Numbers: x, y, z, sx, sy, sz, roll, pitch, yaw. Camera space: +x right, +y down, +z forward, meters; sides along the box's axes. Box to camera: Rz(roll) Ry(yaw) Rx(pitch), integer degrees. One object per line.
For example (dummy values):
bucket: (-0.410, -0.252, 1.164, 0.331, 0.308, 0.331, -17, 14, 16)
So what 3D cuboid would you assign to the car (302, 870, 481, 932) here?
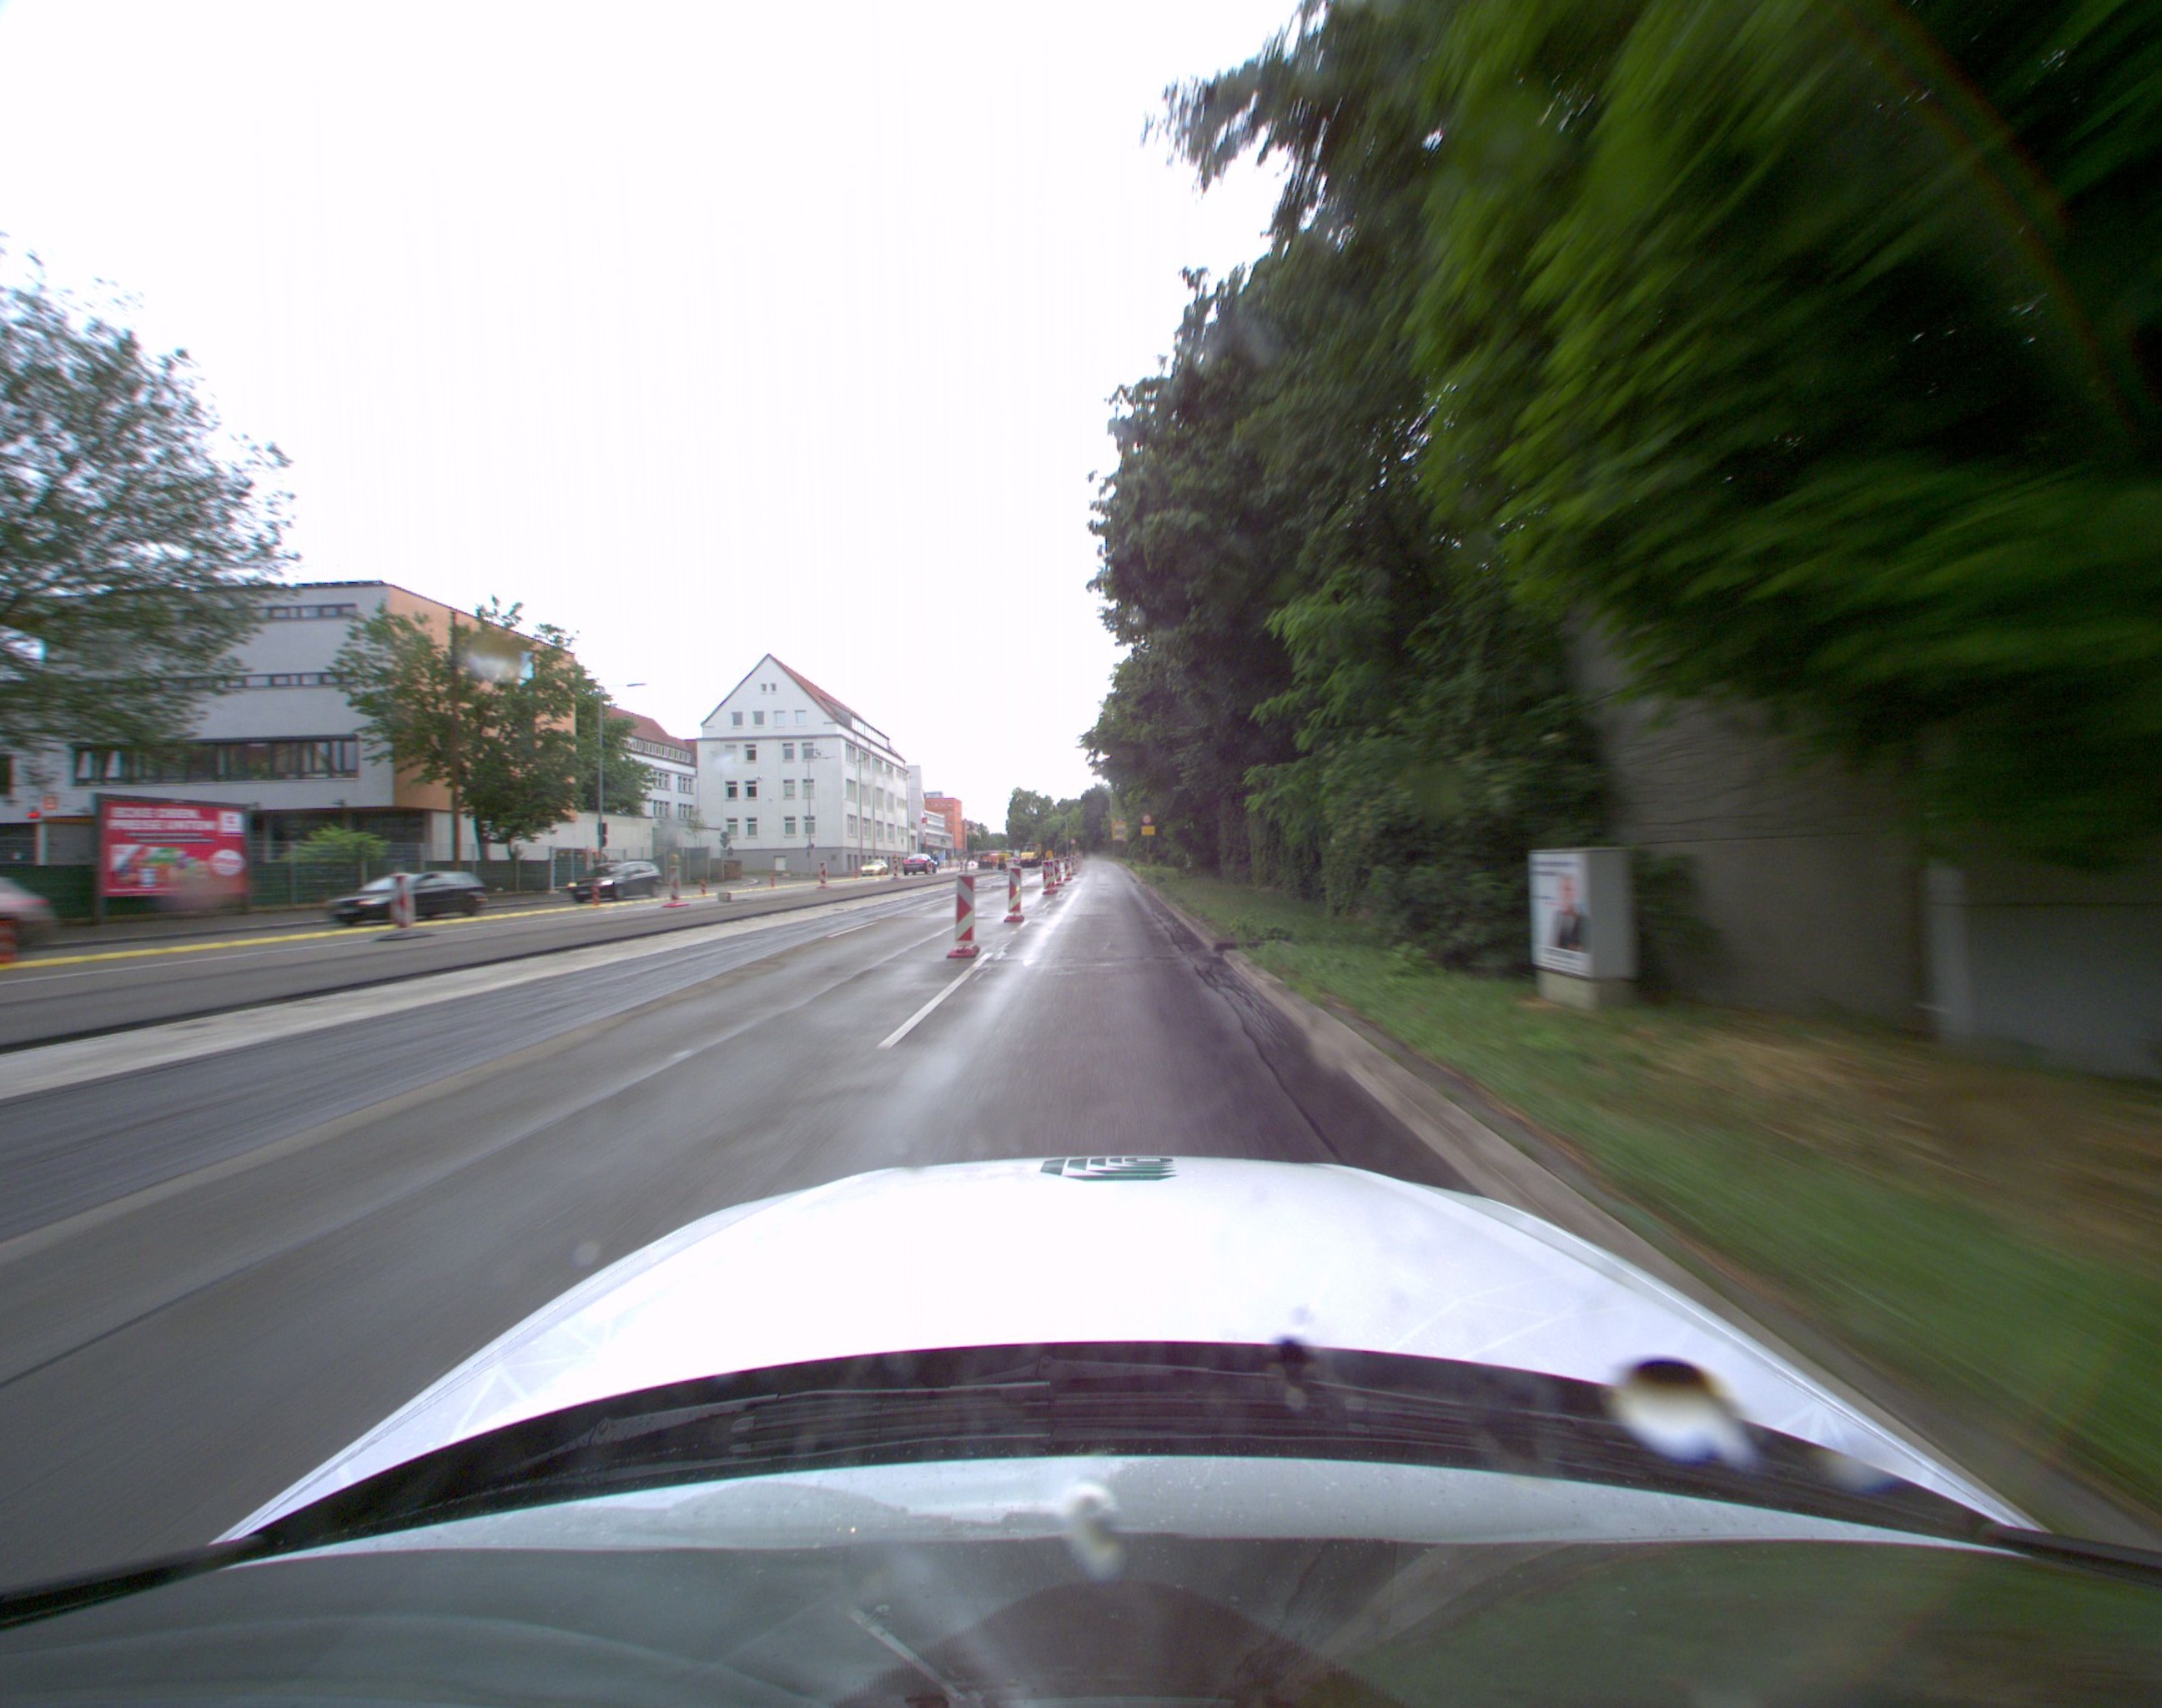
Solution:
car: (-19.876, 1.291, 23.711, 1.852, 1.475, 3.734, -4, 0, 2)

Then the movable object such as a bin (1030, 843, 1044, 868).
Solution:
movable object such as a bin: (-5.636, 0.171, 105.057, 1.461, 3.008, 3.723, -4, 0, 0)

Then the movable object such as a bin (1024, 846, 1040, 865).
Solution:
movable object such as a bin: (-5.693, 0.190, 95.715, 1.357, 2.090, 5.031, -2, 0, 1)

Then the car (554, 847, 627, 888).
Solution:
car: (-27.778, 0.751, 46.249, 1.604, 2.170, 4.000, -2, 0, 1)

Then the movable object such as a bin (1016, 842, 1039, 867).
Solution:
movable object such as a bin: (-5.874, 0.033, 89.690, 1.895, 2.609, 5.384, -2, 0, 1)

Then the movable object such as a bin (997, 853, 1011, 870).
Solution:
movable object such as a bin: (-7.683, 0.695, 80.956, 1.079, 1.644, 2.439, -2, 0, 1)

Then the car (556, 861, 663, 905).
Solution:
car: (-20.109, 1.191, 34.969, 1.852, 1.630, 4.331, -4, 0, 2)

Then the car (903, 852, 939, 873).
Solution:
car: (-13.195, 0.703, 67.302, 1.885, 1.650, 4.398, -1, 0, 2)

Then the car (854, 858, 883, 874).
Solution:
car: (-19.603, 1.126, 74.939, 1.563, 1.368, 3.767, -3, 0, -30)

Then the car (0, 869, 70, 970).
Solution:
car: (-18.419, 1.111, 11.835, 1.852, 1.619, 4.367, -4, 0, 2)
